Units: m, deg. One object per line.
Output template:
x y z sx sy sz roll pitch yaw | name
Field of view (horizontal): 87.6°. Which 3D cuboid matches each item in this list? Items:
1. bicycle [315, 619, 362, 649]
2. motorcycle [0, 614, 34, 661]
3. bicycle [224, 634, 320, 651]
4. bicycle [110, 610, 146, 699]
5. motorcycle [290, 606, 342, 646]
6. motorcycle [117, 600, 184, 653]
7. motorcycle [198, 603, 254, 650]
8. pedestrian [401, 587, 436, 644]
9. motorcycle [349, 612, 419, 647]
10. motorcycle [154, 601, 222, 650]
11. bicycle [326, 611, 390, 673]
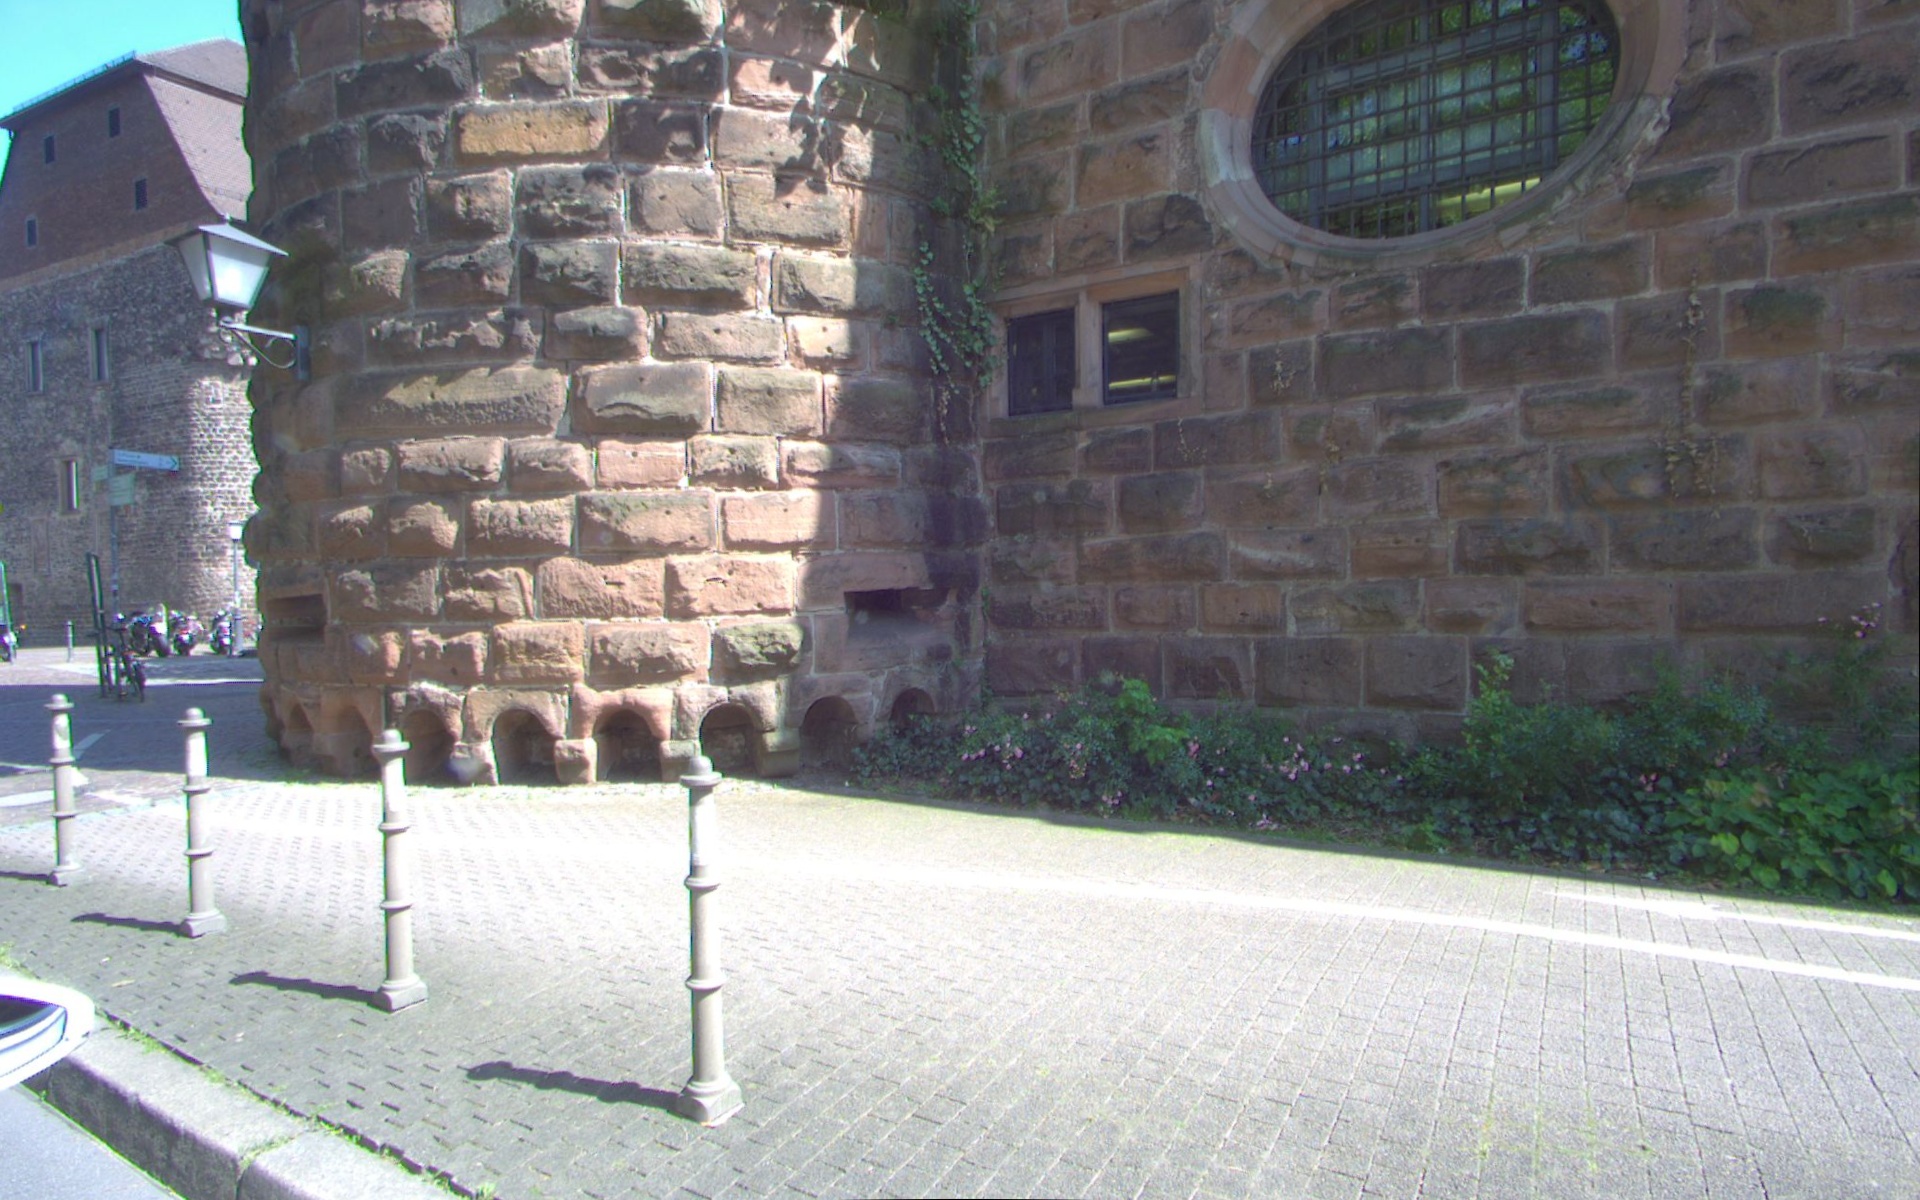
-18.382 1.000 29.619 1.898 0.831 0.353 0 -1 32 | bicycle
-22.119 0.834 23.015 2.453 1.026 0.565 0 1 32 | motorcycle
-17.582 1.085 25.600 1.916 0.386 0.909 0 -2 -44 | bicycle
-12.033 0.757 14.471 1.750 1.220 0.192 0 1 44 | bicycle
-18.066 0.744 28.082 1.814 1.087 0.506 -1 -2 32 | motorcycle
-20.593 0.679 25.462 2.169 1.282 0.654 -1 -1 32 | motorcycle
-19.912 0.724 27.146 2.002 1.251 0.545 -1 -2 32 | motorcycle
-19.682 0.569 36.388 0.722 2.039 0.874 -1 -1 30 | pedestrian
-18.093 0.929 31.479 0.474 1.067 1.858 -1 -2 40 | motorcycle
-20.358 0.677 26.382 2.280 1.251 0.674 -1 -2 32 | motorcycle
-11.959 0.809 19.869 1.707 1.178 0.445 0 1 36 | bicycle
